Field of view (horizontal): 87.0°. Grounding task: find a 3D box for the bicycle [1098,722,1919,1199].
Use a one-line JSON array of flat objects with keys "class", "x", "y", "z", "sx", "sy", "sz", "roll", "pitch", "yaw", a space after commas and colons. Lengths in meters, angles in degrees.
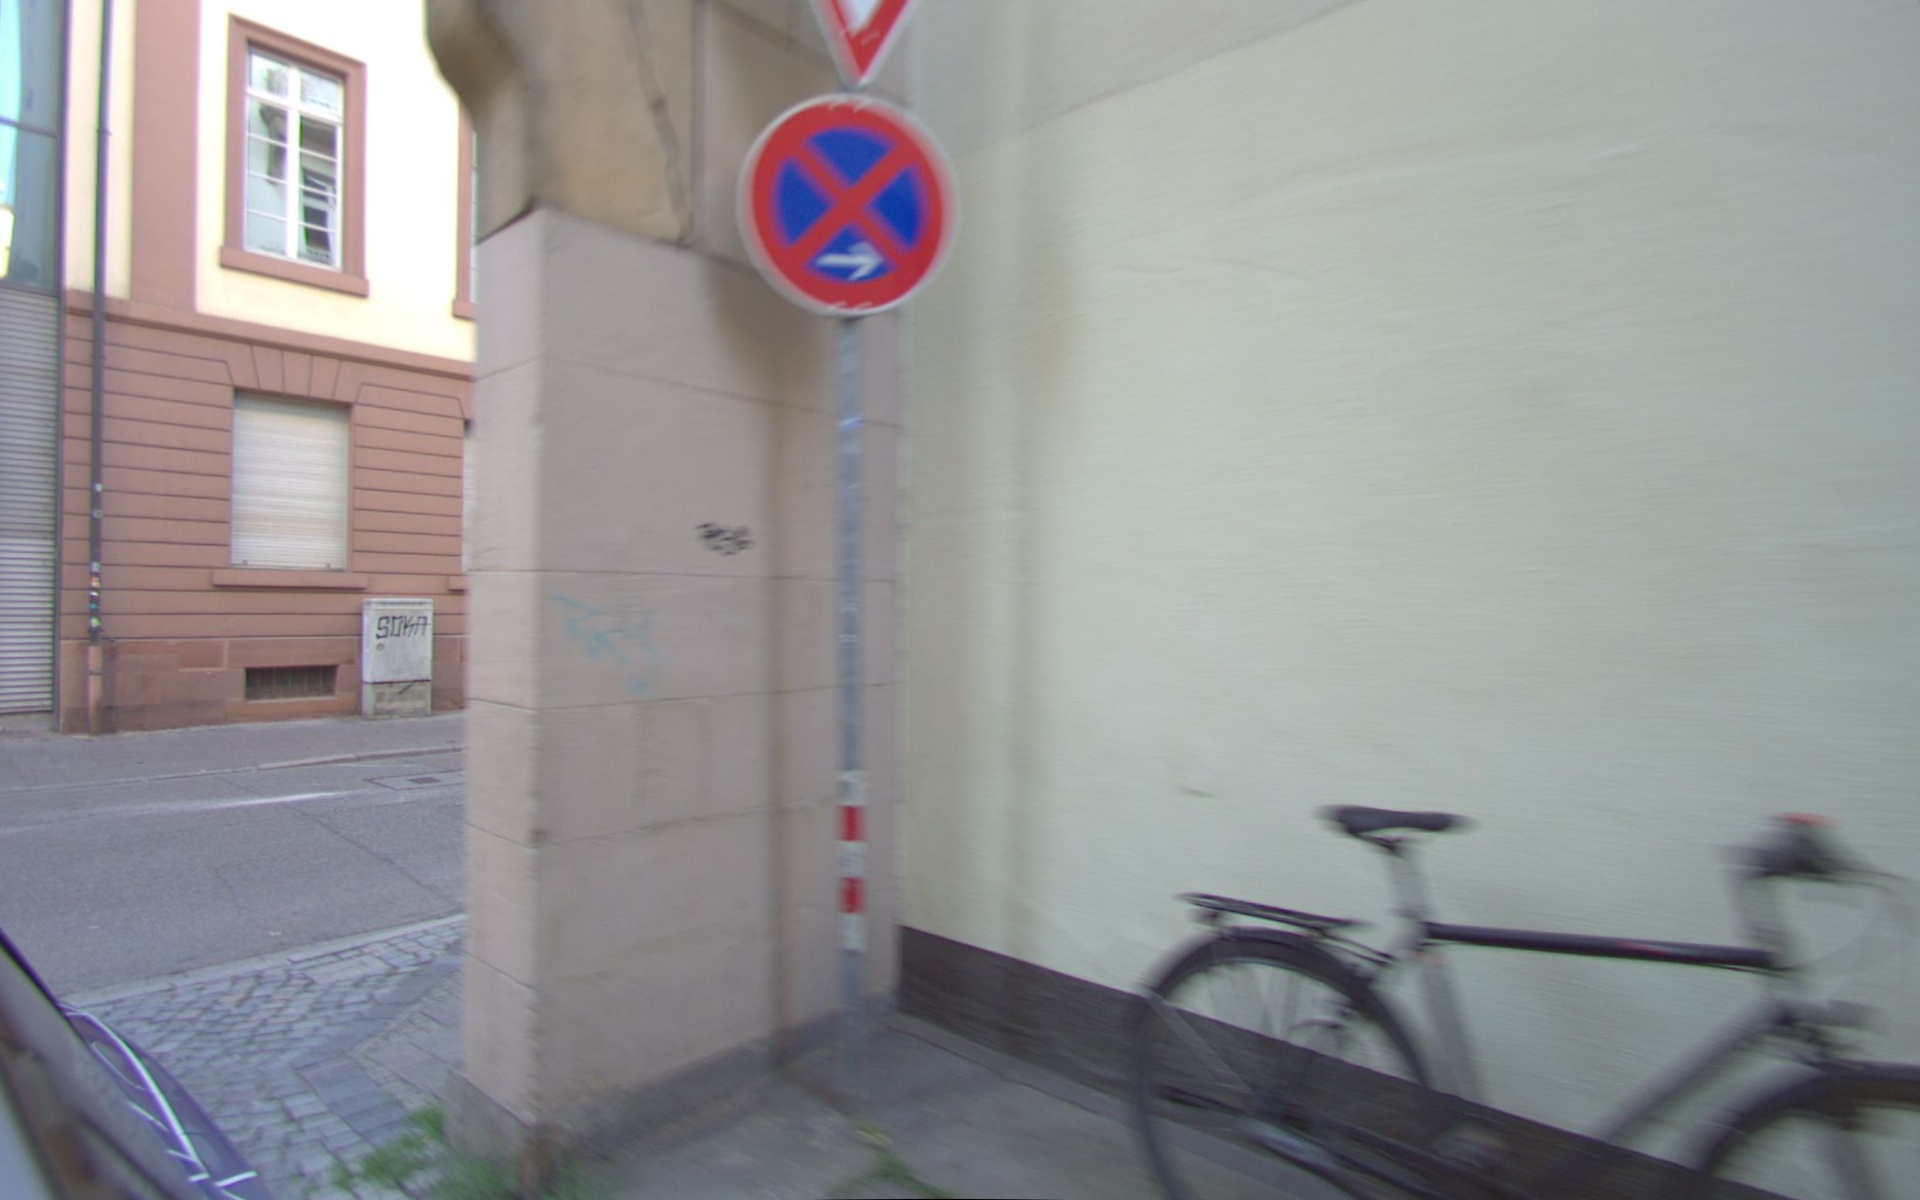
[{"class": "bicycle", "x": 1.155, "y": 0.873, "z": 1.851, "sx": 1.755, "sy": 1.087, "sz": 0.589, "roll": 1, "pitch": 0, "yaw": 42}]
